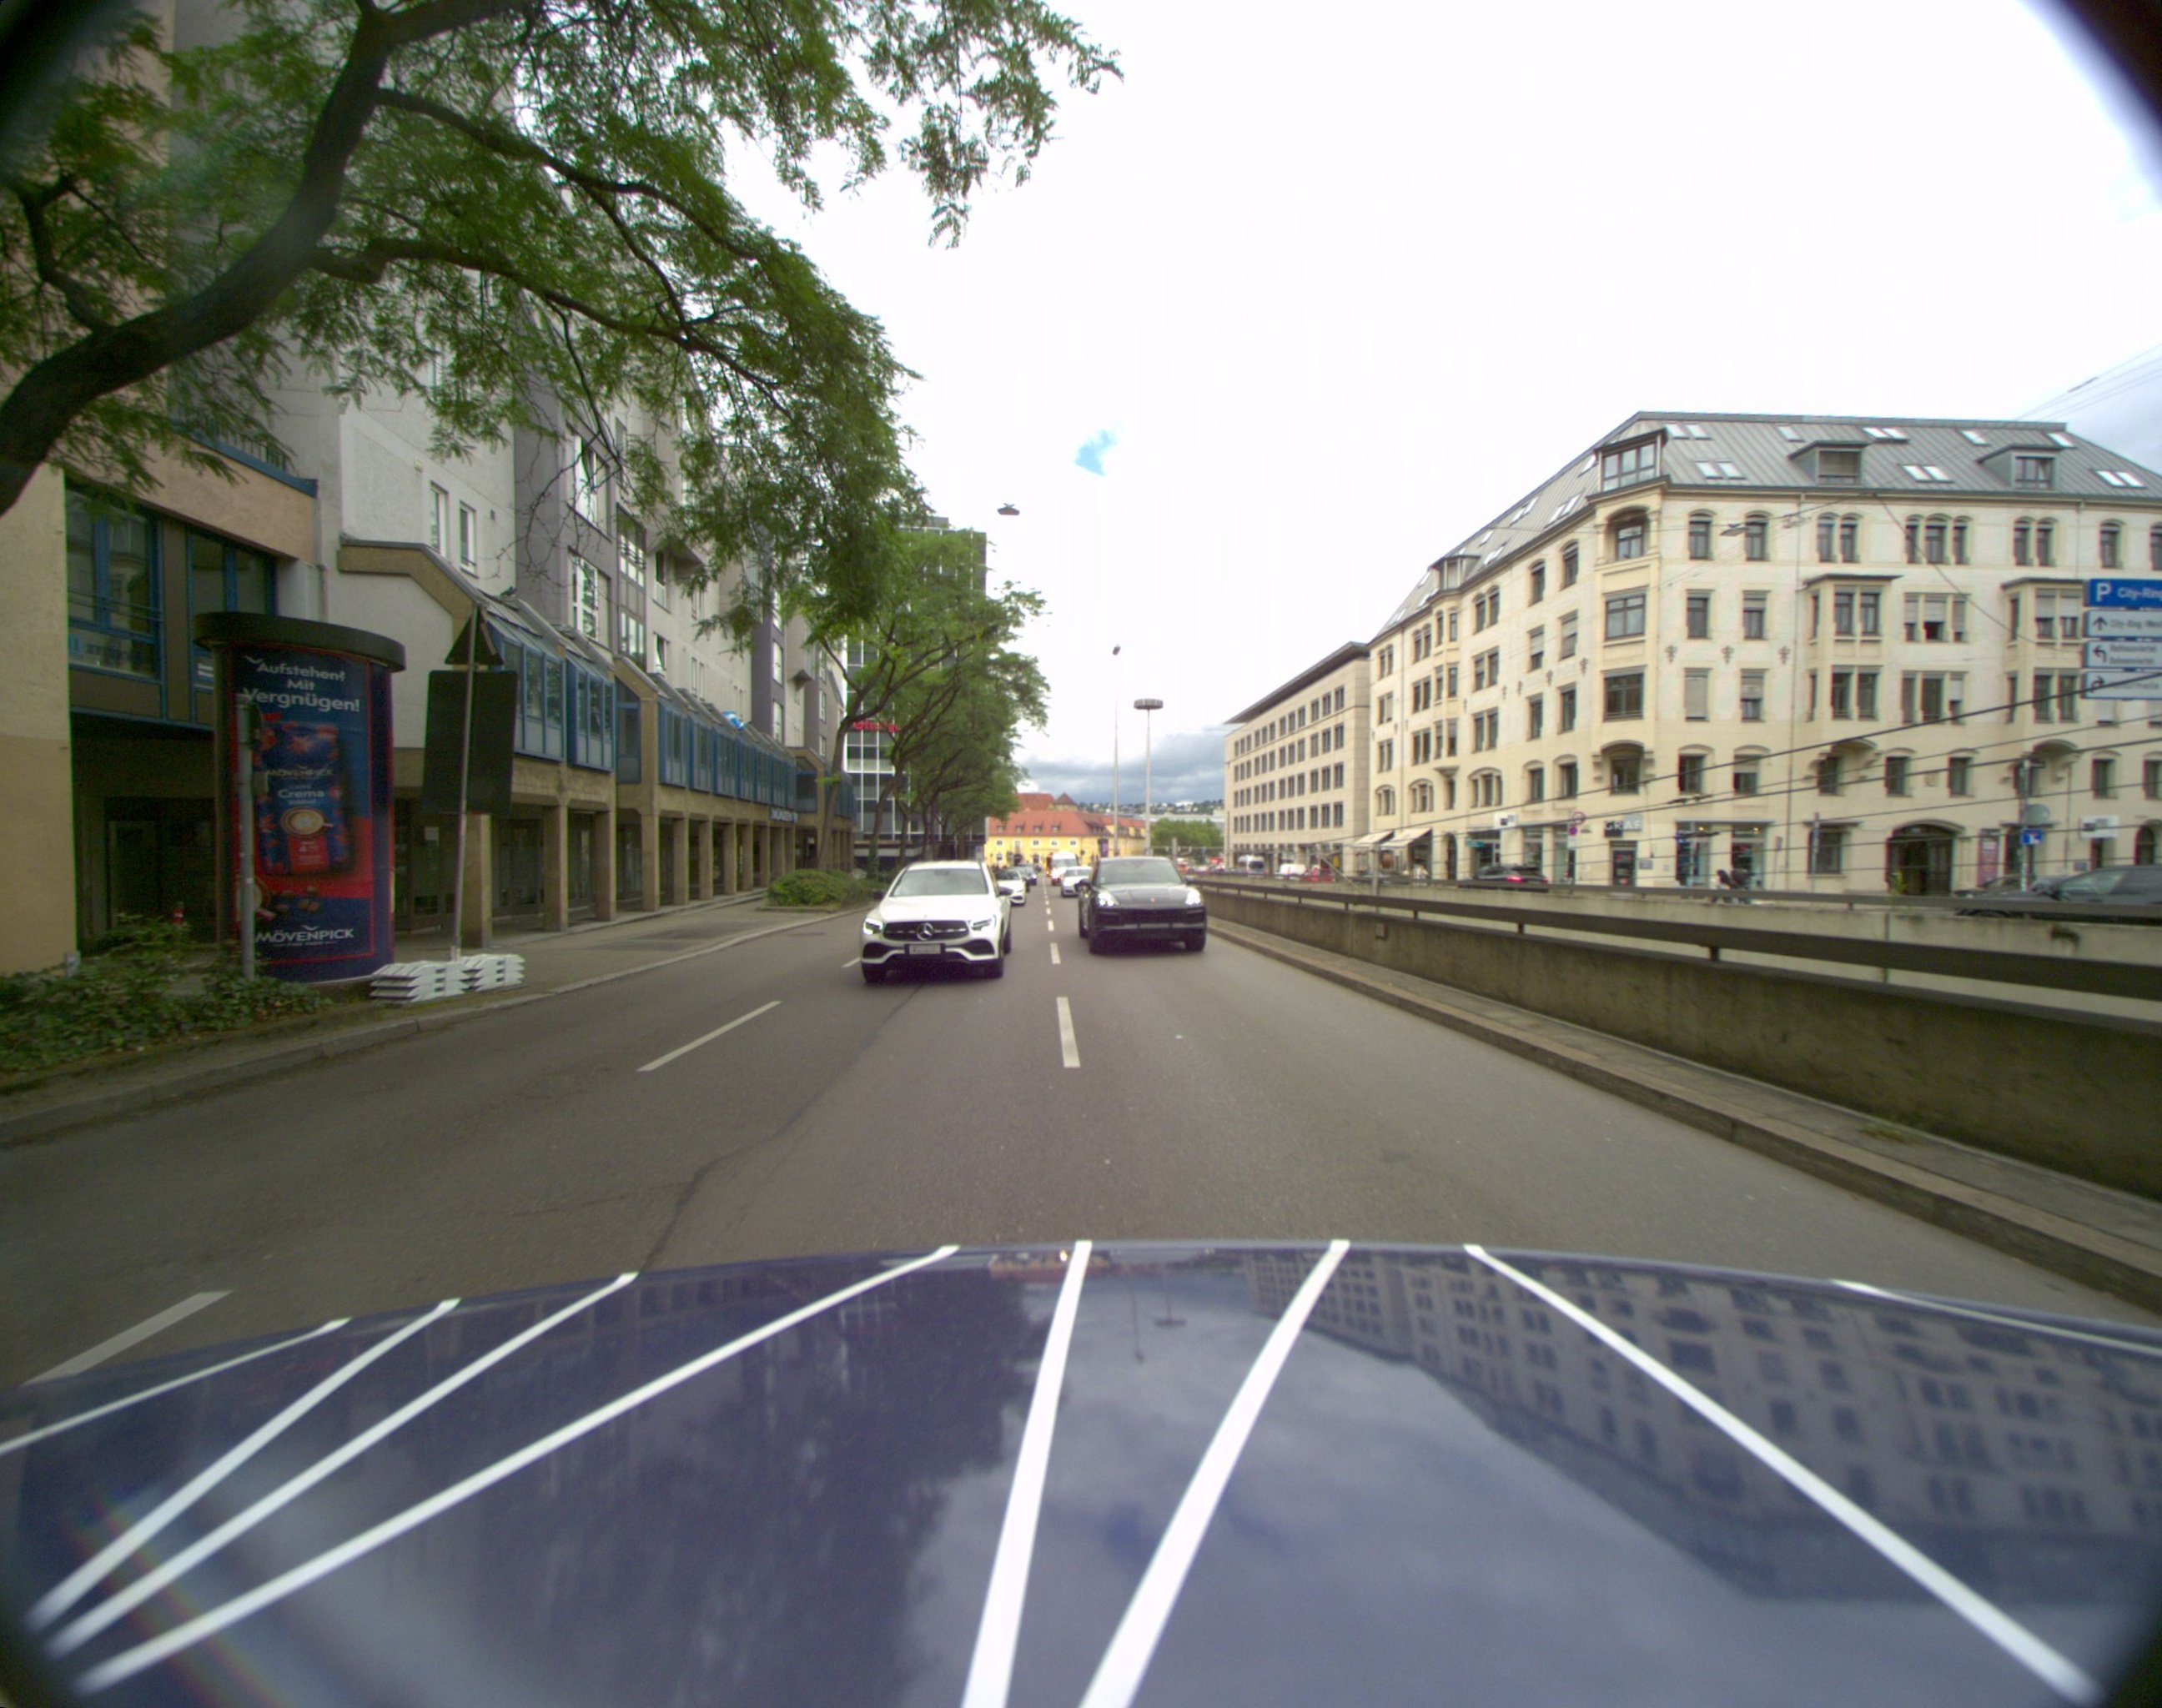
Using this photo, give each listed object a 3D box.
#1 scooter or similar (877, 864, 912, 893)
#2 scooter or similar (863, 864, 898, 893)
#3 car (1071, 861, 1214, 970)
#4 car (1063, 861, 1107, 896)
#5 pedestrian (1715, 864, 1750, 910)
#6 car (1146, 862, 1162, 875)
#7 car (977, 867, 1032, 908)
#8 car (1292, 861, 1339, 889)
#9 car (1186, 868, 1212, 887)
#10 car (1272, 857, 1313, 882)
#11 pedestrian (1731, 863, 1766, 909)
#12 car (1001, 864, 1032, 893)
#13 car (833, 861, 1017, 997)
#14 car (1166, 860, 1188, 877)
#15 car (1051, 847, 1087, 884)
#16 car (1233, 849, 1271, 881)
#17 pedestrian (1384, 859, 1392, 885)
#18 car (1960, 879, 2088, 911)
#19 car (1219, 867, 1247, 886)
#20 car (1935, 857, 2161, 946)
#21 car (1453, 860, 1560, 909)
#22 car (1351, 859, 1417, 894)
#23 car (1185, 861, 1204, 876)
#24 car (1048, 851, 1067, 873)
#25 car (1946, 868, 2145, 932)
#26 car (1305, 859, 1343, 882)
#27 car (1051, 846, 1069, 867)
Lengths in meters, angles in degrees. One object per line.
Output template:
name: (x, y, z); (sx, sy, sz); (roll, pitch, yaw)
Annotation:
scooter or similar: (-9.436, 1.233, 38.429); (1.536, 1.425, 0.686); (-2, 1, -33)
scooter or similar: (-10.430, 1.244, 39.581); (1.600, 1.425, 0.730); (-2, 1, -33)
car: (0.943, 0.999, 14.713); (2.088, 1.665, 5.351); (-1, -1, -2)
car: (0.132, 1.167, 37.196); (1.950, 1.521, 3.999); (-1, 0, -2)
pedestrian: (24.115, 1.212, 28.139); (0.712, 1.701, 0.687); (0, 0, -13)
car: (11.170, 2.180, 116.225); (1.999, 2.002, 4.000); (0, 0, -1)
car: (-2.958, 1.258, 30.196); (1.890, 1.378, 4.609); (-1, 0, -2)
car: (18.091, 1.602, 58.793); (1.999, 2.002, 4.789); (-1, 0, -2)
car: (13.203, 2.615, 85.227); (1.999, 2.002, 4.789); (-1, 0, -2)
car: (18.042, 1.287, 65.150); (1.999, 2.002, 4.789); (-1, 0, -2)
pedestrian: (24.884, 1.193, 28.331); (0.712, 1.701, 0.687); (0, 0, -13)
car: (-3.871, 1.427, 45.862); (1.640, 1.602, 3.659); (-1, 0, -2)
car: (-2.093, 0.950, 11.415); (2.060, 1.599, 3.926); (-1, 0, -2)
car: (12.503, 1.865, 99.069); (2.115, 2.002, 4.789); (-1, 0, -2)
car: (-0.892, 0.884, 59.363); (2.294, 2.723, 4.755); (-1, 0, 5)
car: (17.390, 1.081, 77.431); (2.370, 3.042, 5.468); (-1, 0, -2)
pedestrian: (21.343, 1.240, 52.820); (0.510, 1.769, 0.578); (0, 0, 22)
car: (37.799, 1.622, 30.493); (3.600, 1.227, 1.649); (0, 0, -9)
car: (17.331, 2.554, 86.686); (1.999, 2.002, 4.789); (-1, 0, -2)
car: (19.706, 0.833, 14.337); (1.819, 1.551, 4.641); (0, 0, -4)
car: (19.189, 1.305, 34.570); (1.999, 2.002, 4.789); (-1, 0, -2)
car: (18.767, 1.356, 47.324); (1.999, 2.002, 4.789); (-1, 0, -2)
car: (15.824, 2.026, 106.295); (1.999, 2.002, 4.000); (0, 0, -1)
car: (-3.154, 1.076, 102.728); (2.503, 2.792, 5.727); (-1, 0, -1)
car: (26.385, 1.232, 20.850); (3.649, 1.651, 1.649); (0, 0, -5)
car: (21.396, 1.410, 67.052); (1.999, 2.002, 3.999); (0, 0, -2)
car: (-3.059, 0.343, 110.266); (2.503, 2.792, 5.727); (-1, 0, -1)
